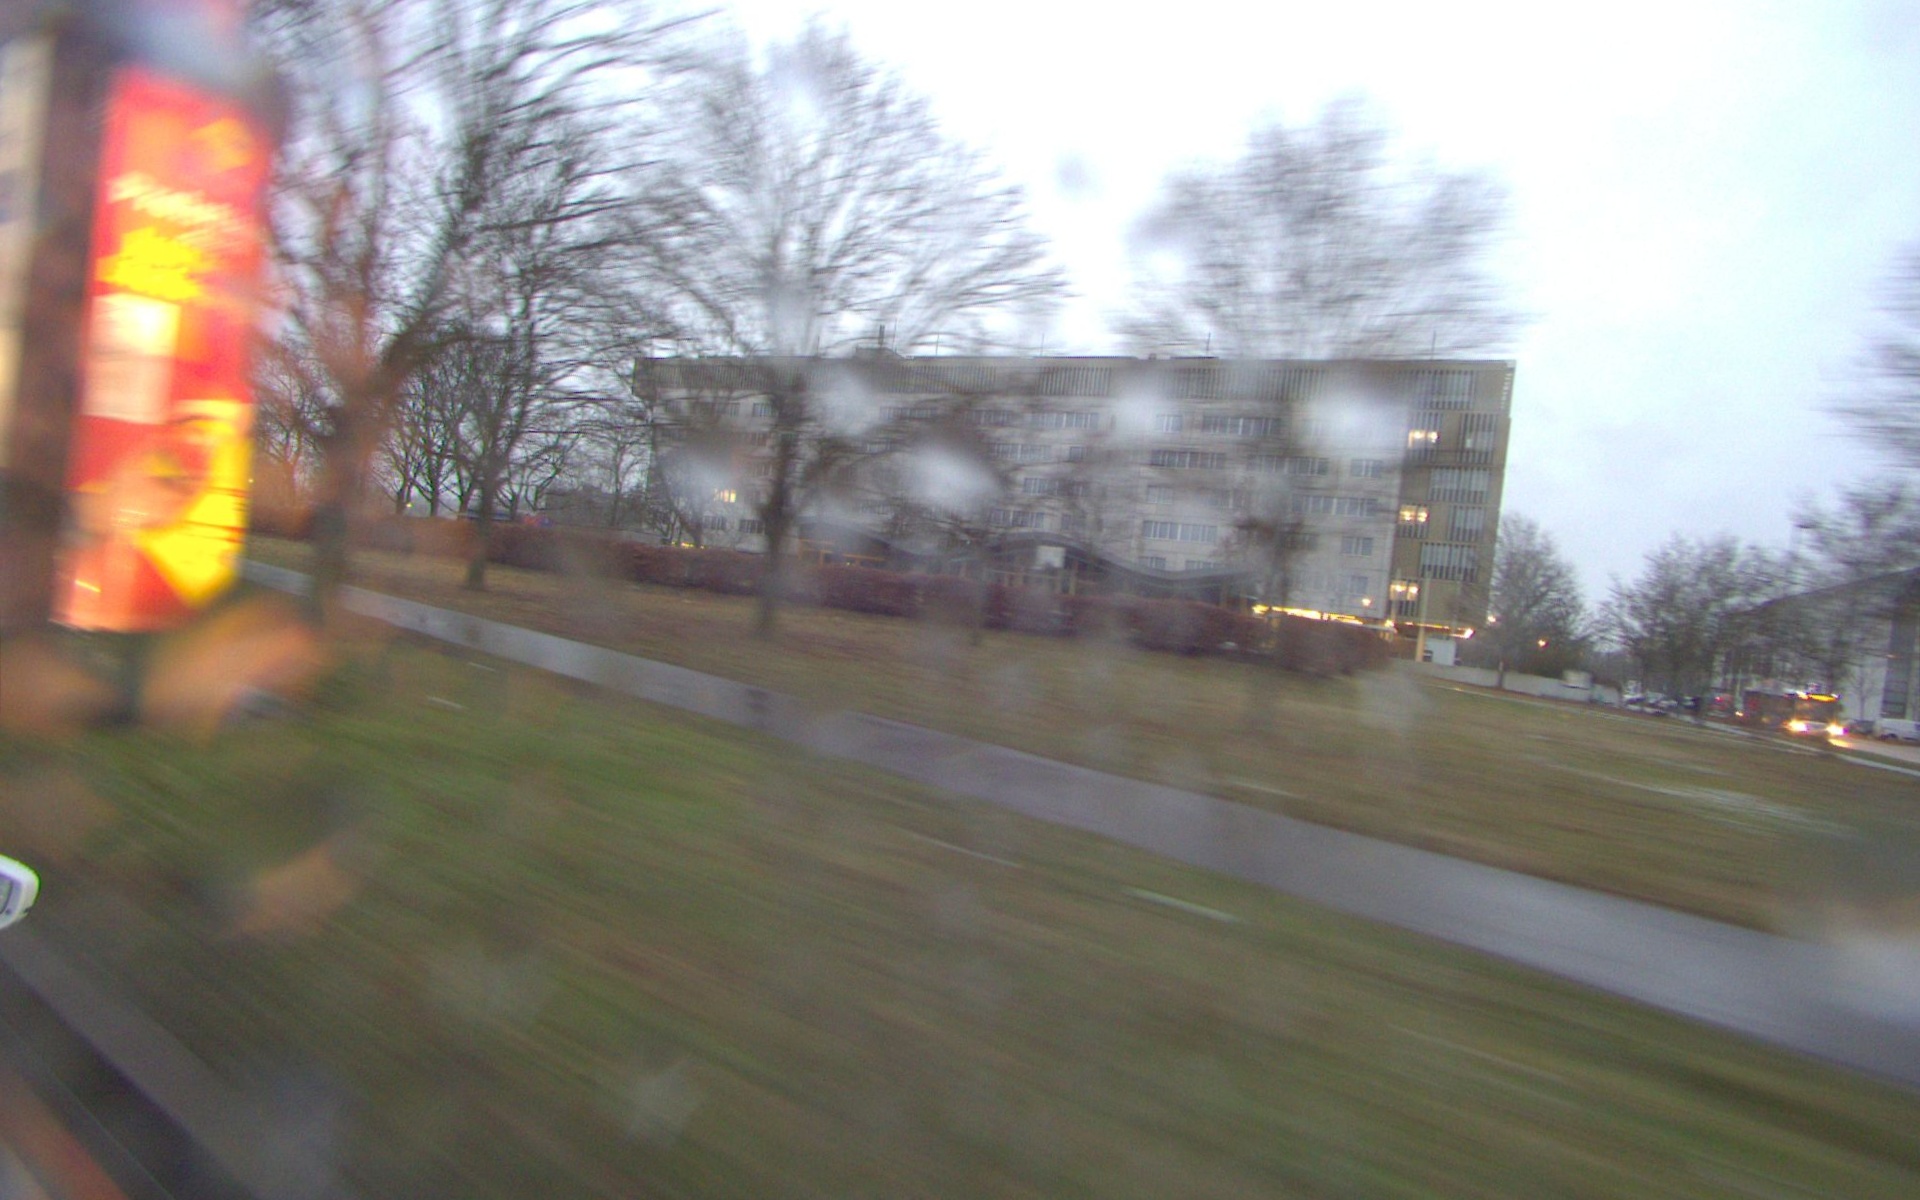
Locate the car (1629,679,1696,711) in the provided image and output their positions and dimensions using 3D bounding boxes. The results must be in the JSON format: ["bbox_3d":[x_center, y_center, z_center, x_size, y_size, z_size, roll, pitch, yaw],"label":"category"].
[{"bbox_3d":[56.463,7.650,80.979,4.216,2.037,1.996,5,-2,35],"label":"car"}]

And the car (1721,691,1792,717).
[{"bbox_3d":[61.119,7.984,77.306,3.934,1.496,1.833,5,-2,31],"label":"car"}]

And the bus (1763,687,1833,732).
[{"bbox_3d":[58.979,7.709,70.980,2.259,2.743,8.139,6,-3,30],"label":"bus"}]

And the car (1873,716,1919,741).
[{"bbox_3d":[70.801,9.669,74.842,3.799,1.470,1.670,6,-2,28],"label":"car"}]

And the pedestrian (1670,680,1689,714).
[{"bbox_3d":[45.677,6.137,63.858,0.789,2.037,0.640,6,-1,32],"label":"pedestrian"}]

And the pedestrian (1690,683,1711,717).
[{"bbox_3d":[46.473,6.287,63.135,0.801,2.037,0.751,6,-1,27],"label":"pedestrian"}]

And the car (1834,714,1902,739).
[{"bbox_3d":[75.779,10.534,83.976,3.799,1.470,1.670,6,-2,28],"label":"car"}]
